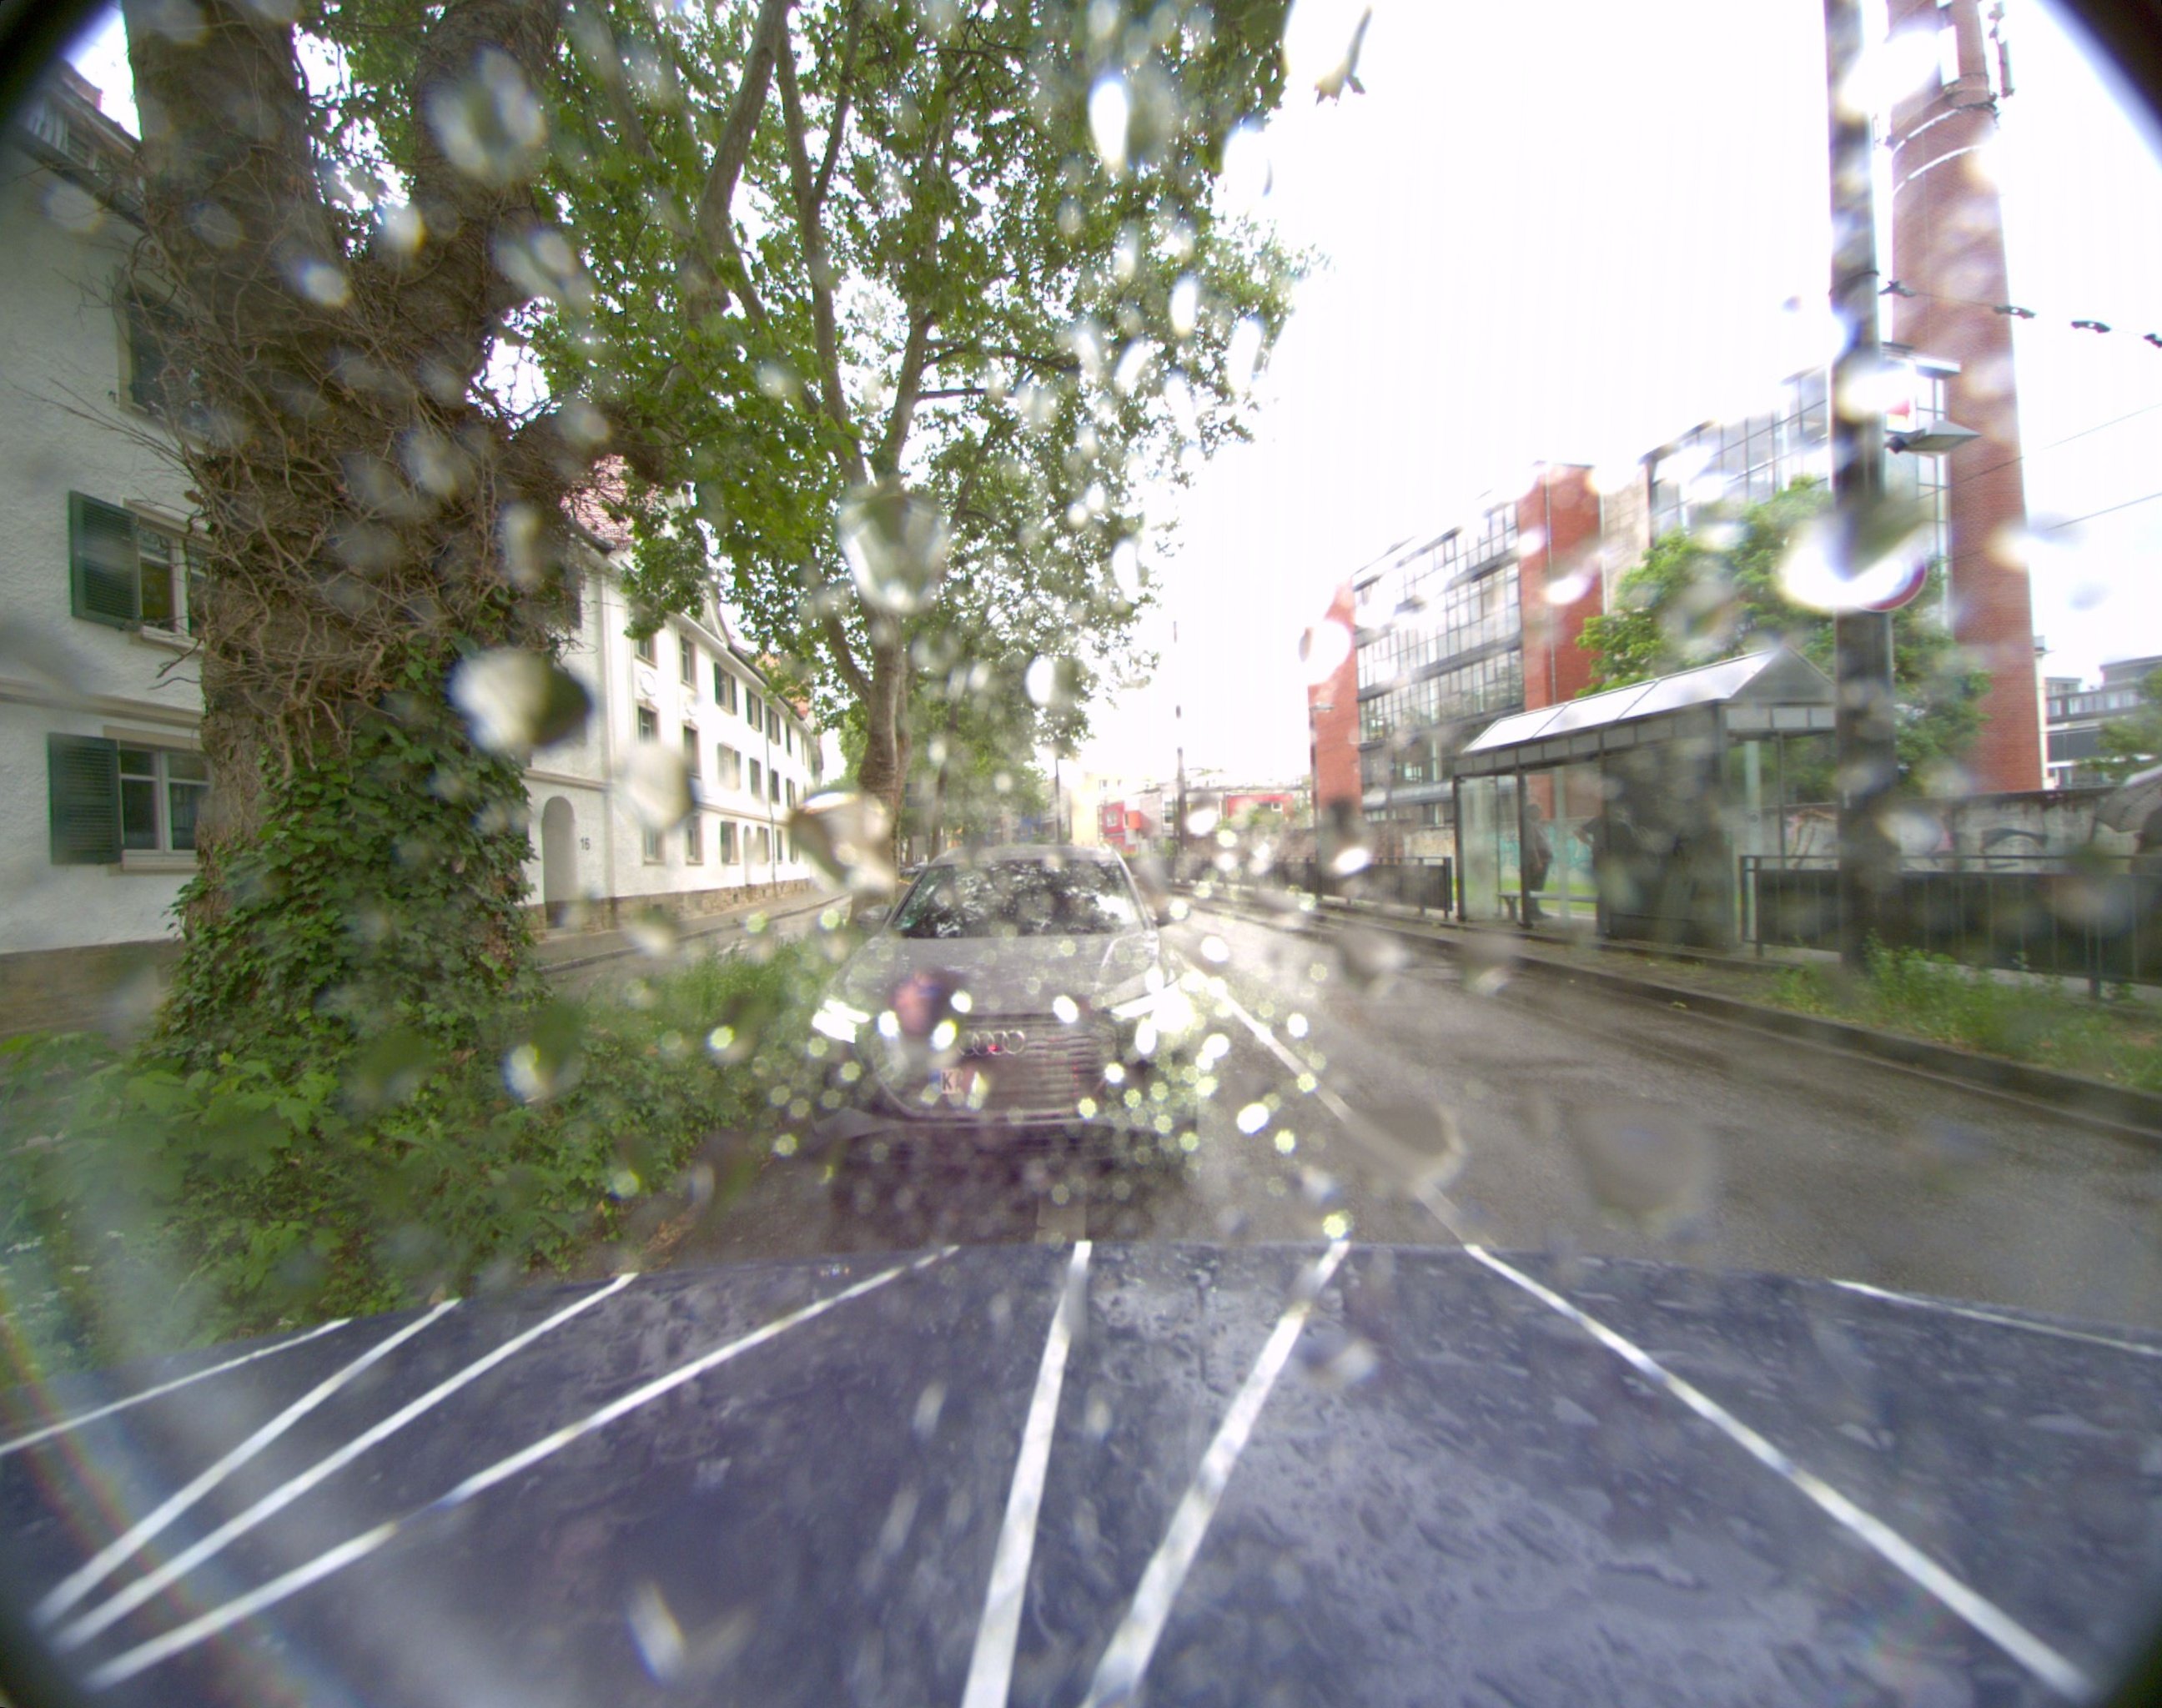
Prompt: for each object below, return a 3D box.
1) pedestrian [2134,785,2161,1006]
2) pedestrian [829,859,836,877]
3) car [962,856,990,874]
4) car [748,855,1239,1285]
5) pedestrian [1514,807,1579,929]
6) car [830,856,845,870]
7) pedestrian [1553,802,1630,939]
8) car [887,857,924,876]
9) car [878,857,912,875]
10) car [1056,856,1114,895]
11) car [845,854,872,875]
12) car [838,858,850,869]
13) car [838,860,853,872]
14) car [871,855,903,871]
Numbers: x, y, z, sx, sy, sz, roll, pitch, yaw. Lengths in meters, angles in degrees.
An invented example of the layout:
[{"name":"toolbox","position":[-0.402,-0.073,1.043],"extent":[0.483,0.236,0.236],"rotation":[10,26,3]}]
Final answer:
[{"name":"pedestrian","position":[8.184,0.293,5.389],"extent":[0.798,1.588,0.506],"rotation":[0,-2,-10]},{"name":"pedestrian","position":[-26.226,1.457,80.198],"extent":[0.674,1.811,0.678],"rotation":[-3,1,-18]},{"name":"car","position":[-9.875,0.998,71.465],"extent":[1.758,1.582,4.228],"rotation":[-3,0,-19]},{"name":"car","position":[-0.405,0.871,5.127],"extent":[1.917,1.632,4.106],"rotation":[-2,0,-2]},{"name":"pedestrian","position":[6.855,0.198,11.200],"extent":[0.629,1.738,0.514],"rotation":[-2,1,9]},{"name":"car","position":[-37.451,1.419,116.823],"extent":[2.002,2.001,3.993],"rotation":[3,-1,-20]},{"name":"pedestrian","position":[6.741,0.216,10.052],"extent":[0.629,1.738,0.564],"rotation":[-2,1,9]},{"name":"car","position":[-20.227,1.463,87.572],"extent":[4.002,2.002,1.997],"rotation":[-2,0,-17]},{"name":"car","position":[-23.198,1.497,94.667],"extent":[4.002,2.002,1.997],"rotation":[-2,0,-17]},{"name":"car","position":[0.106,0.995,36.487],"extent":[1.809,1.673,4.599],"rotation":[-3,0,-11]},{"name":"car","position":[-25.147,1.160,85.731],"extent":[2.199,2.250,5.401],"rotation":[-3,0,-24]},{"name":"car","position":[-48.552,1.966,155.730],"extent":[2.002,2.001,3.993],"rotation":[3,-1,-20]},{"name":"car","position":[-32.483,1.689,104.652],"extent":[1.834,1.517,3.993],"rotation":[-3,1,-19]},{"name":"car","position":[-26.669,1.211,104.369],"extent":[4.002,2.002,1.997],"rotation":[-2,0,-17]}]
